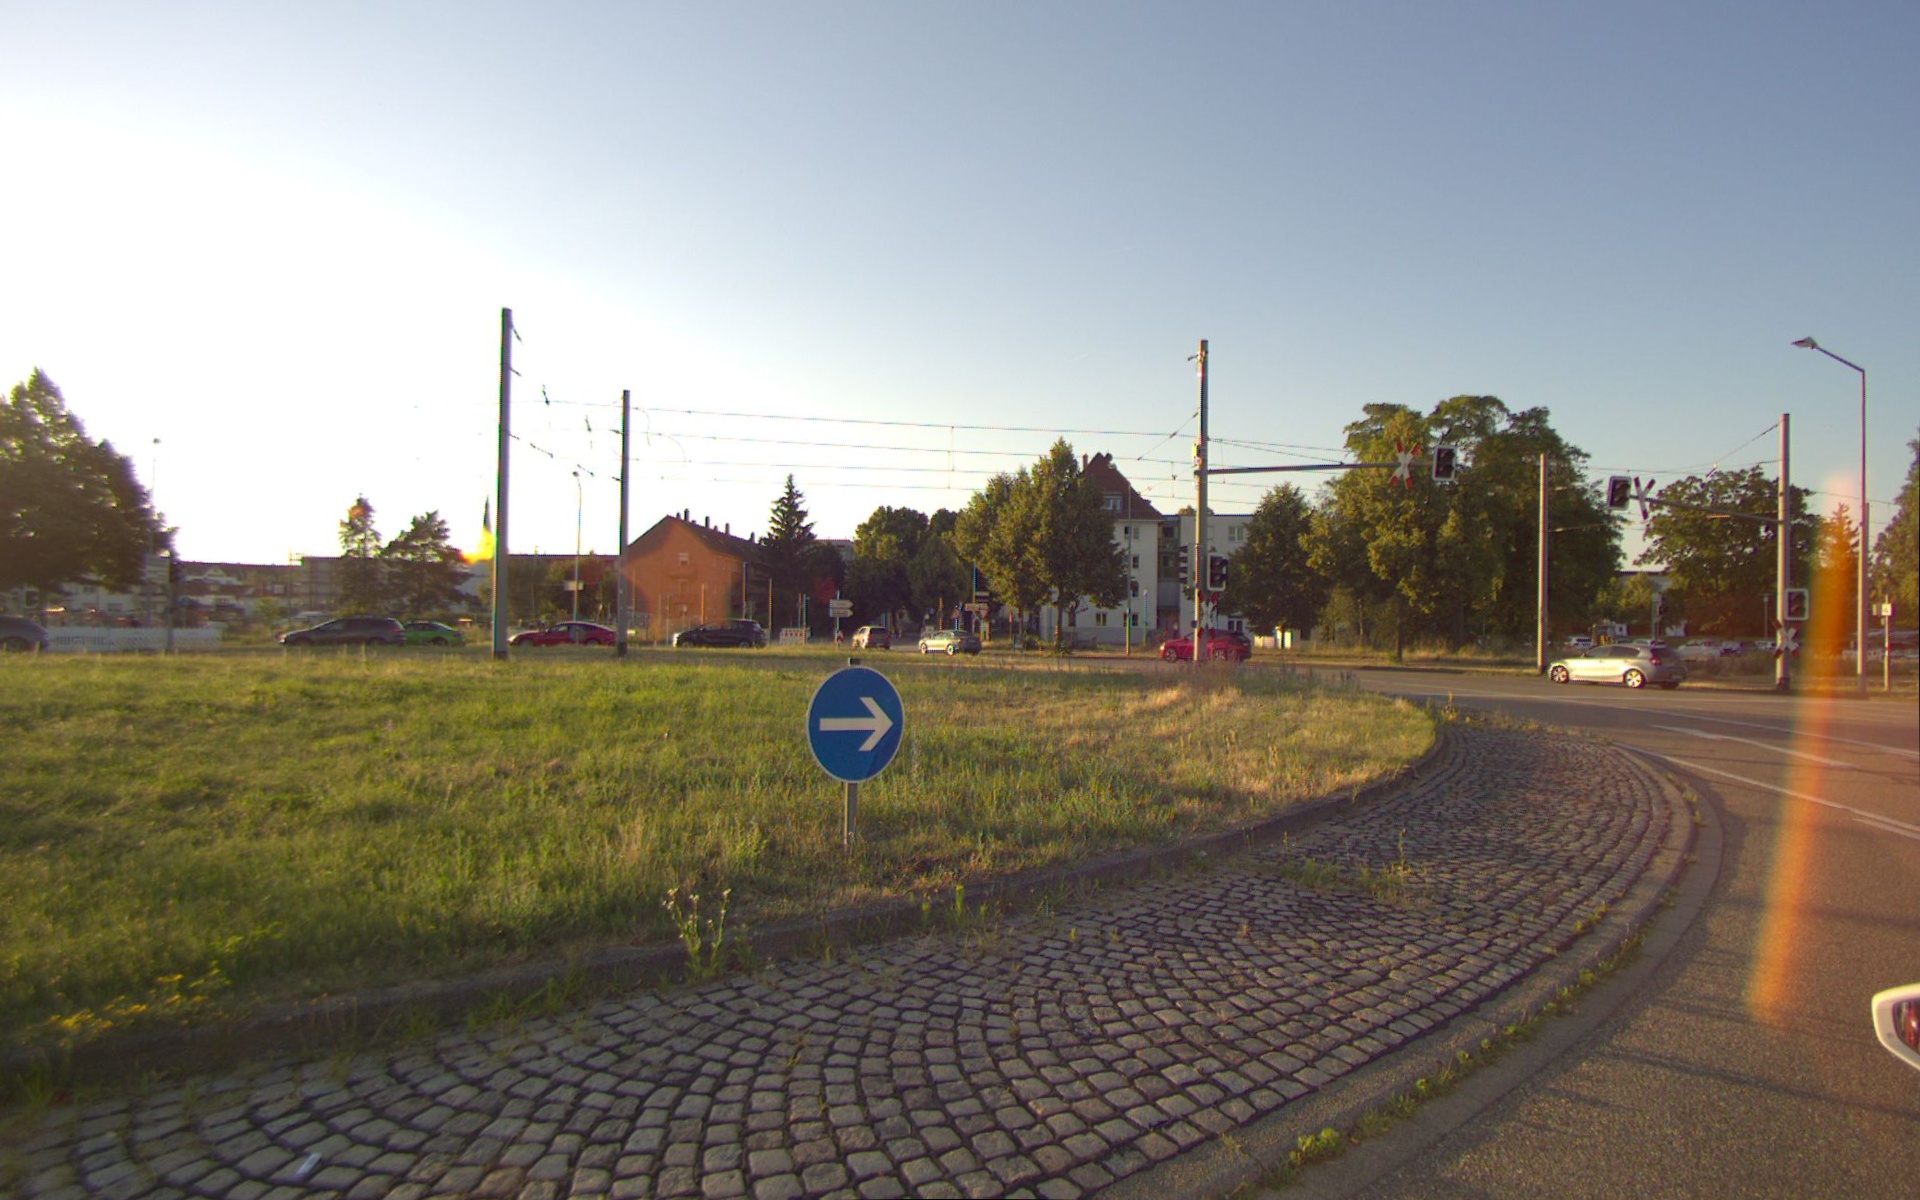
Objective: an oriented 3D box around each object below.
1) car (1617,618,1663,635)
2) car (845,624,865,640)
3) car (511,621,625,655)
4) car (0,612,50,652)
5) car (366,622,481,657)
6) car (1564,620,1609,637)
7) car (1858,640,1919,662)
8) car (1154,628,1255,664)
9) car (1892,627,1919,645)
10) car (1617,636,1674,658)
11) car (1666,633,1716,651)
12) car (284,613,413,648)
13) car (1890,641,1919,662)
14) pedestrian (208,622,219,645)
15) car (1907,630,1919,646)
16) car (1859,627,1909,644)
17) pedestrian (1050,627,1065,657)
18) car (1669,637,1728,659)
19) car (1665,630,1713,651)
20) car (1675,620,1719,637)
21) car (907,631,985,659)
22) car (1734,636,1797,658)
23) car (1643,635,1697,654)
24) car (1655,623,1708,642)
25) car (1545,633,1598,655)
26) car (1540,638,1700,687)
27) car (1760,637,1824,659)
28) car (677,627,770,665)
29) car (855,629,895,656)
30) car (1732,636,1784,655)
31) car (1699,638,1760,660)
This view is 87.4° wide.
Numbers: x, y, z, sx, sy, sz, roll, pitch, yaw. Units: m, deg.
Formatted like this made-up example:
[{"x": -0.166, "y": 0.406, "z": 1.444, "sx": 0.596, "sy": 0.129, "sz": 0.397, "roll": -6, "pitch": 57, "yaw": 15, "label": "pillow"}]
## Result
[{"x": 86.247, "y": 3.383, "z": 127.432, "sx": 4.505, "sy": 2.040, "sz": 2.001, "roll": 1, "pitch": -1, "yaw": 5, "label": "car"}, {"x": -9.725, "y": 2.955, "z": 92.990, "sx": 1.662, "sy": 1.372, "sz": 3.999, "roll": 1, "pitch": -1, "yaw": -3, "label": "car"}, {"x": -17.498, "y": 1.688, "z": 45.026, "sx": 4.415, "sy": 1.410, "sz": 1.893, "roll": 1, "pitch": -1, "yaw": -9, "label": "car"}, {"x": -35.120, "y": 1.107, "z": 35.454, "sx": 1.972, "sy": 1.394, "sz": 4.326, "roll": 0, "pitch": -1, "yaw": 43, "label": "car"}, {"x": -25.229, "y": 1.870, "z": 47.399, "sx": 4.414, "sy": 1.600, "sz": 1.992, "roll": 1, "pitch": -1, "yaw": -18, "label": "car"}, {"x": 79.573, "y": 3.652, "z": 127.616, "sx": 4.507, "sy": 2.040, "sz": 2.000, "roll": 1, "pitch": -1, "yaw": 0, "label": "car"}, {"x": 73.876, "y": 4.013, "z": 79.618, "sx": 1.960, "sy": 1.625, "sz": 4.002, "roll": 1, "pitch": -1, "yaw": 3, "label": "car"}, {"x": 11.719, "y": 2.187, "z": 48.277, "sx": 4.353, "sy": 1.594, "sz": 1.989, "roll": 0, "pitch": -1, "yaw": 43, "label": "car"}, {"x": 107.446, "y": 4.028, "z": 112.589, "sx": 3.919, "sy": 2.040, "sz": 2.001, "roll": 1, "pitch": -1, "yaw": 11, "label": "car"}, {"x": 54.750, "y": 3.702, "z": 80.329, "sx": 1.960, "sy": 1.625, "sz": 4.002, "roll": 1, "pitch": -1, "yaw": 3, "label": "car"}, {"x": 73.155, "y": 4.188, "z": 100.568, "sx": 3.934, "sy": 1.684, "sz": 1.994, "roll": 0, "pitch": -1, "yaw": 35, "label": "car"}, {"x": -25.550, "y": 1.290, "z": 42.152, "sx": 4.323, "sy": 1.394, "sz": 1.989, "roll": 1, "pitch": -1, "yaw": -24, "label": "car"}, {"x": 76.346, "y": 4.087, "z": 79.467, "sx": 1.960, "sy": 1.625, "sz": 4.002, "roll": 1, "pitch": -1, "yaw": 3, "label": "car"}, {"x": -42.872, "y": 1.922, "z": 57.681, "sx": 0.392, "sy": 1.325, "sz": 0.426, "roll": 1, "pitch": -1, "yaw": -30, "label": "pedestrian"}, {"x": 105.578, "y": 4.111, "z": 108.712, "sx": 1.971, "sy": 1.728, "sz": 3.979, "roll": 1, "pitch": -1, "yaw": -22, "label": "car"}, {"x": 108.026, "y": 4.128, "z": 117.441, "sx": 3.919, "sy": 1.840, "sz": 2.001, "roll": 1, "pitch": -1, "yaw": 5, "label": "car"}, {"x": 6.336, "y": 2.719, "z": 65.136, "sx": 0.614, "sy": 1.918, "sz": 0.662, "roll": 2, "pitch": 0, "yaw": -35, "label": "pedestrian"}, {"x": 59.509, "y": 3.849, "z": 81.030, "sx": 1.960, "sy": 1.625, "sz": 4.002, "roll": 1, "pitch": -1, "yaw": 3, "label": "car"}, {"x": 75.976, "y": 4.238, "z": 104.754, "sx": 3.934, "sy": 2.040, "sz": 1.994, "roll": 0, "pitch": -1, "yaw": 35, "label": "car"}, {"x": 93.198, "y": 3.589, "z": 127.023, "sx": 4.033, "sy": 2.040, "sz": 2.001, "roll": 1, "pitch": -1, "yaw": 4, "label": "car"}, {"x": -0.822, "y": 2.545, "z": 57.816, "sx": 1.874, "sy": 1.483, "sz": 4.611, "roll": 2, "pitch": -1, "yaw": -43, "label": "car"}, {"x": 64.009, "y": 3.716, "z": 79.923, "sx": 1.960, "sy": 1.625, "sz": 4.002, "roll": 1, "pitch": -1, "yaw": 3, "label": "car"}, {"x": 69.204, "y": 4.329, "z": 97.924, "sx": 3.919, "sy": 1.684, "sz": 1.904, "roll": 1, "pitch": -1, "yaw": 5, "label": "car"}, {"x": 80.223, "y": 3.646, "z": 111.732, "sx": 4.507, "sy": 2.040, "sz": 2.000, "roll": 1, "pitch": -1, "yaw": 0, "label": "car"}, {"x": 49.408, "y": 3.544, "z": 81.221, "sx": 1.960, "sy": 1.625, "sz": 4.002, "roll": 1, "pitch": -1, "yaw": 3, "label": "car"}, {"x": 21.631, "y": 2.022, "z": 33.112, "sx": 1.839, "sy": 1.408, "sz": 4.144, "roll": 1, "pitch": -1, "yaw": -20, "label": "car"}, {"x": 66.362, "y": 3.788, "z": 80.163, "sx": 1.960, "sy": 1.625, "sz": 4.002, "roll": 1, "pitch": -1, "yaw": 3, "label": "car"}, {"x": -10.704, "y": 2.082, "z": 45.690, "sx": 3.925, "sy": 1.605, "sz": 1.894, "roll": 1, "pitch": -1, "yaw": -7, "label": "car"}, {"x": -5.900, "y": 2.904, "z": 69.466, "sx": 1.967, "sy": 1.659, "sz": 4.511, "roll": 1, "pitch": -1, "yaw": -16, "label": "car"}, {"x": 77.341, "y": 4.418, "z": 97.407, "sx": 3.938, "sy": 1.684, "sz": 1.894, "roll": 0, "pitch": -1, "yaw": 39, "label": "car"}, {"x": 61.628, "y": 3.911, "z": 80.553, "sx": 1.960, "sy": 1.625, "sz": 4.002, "roll": 1, "pitch": -1, "yaw": 3, "label": "car"}]
